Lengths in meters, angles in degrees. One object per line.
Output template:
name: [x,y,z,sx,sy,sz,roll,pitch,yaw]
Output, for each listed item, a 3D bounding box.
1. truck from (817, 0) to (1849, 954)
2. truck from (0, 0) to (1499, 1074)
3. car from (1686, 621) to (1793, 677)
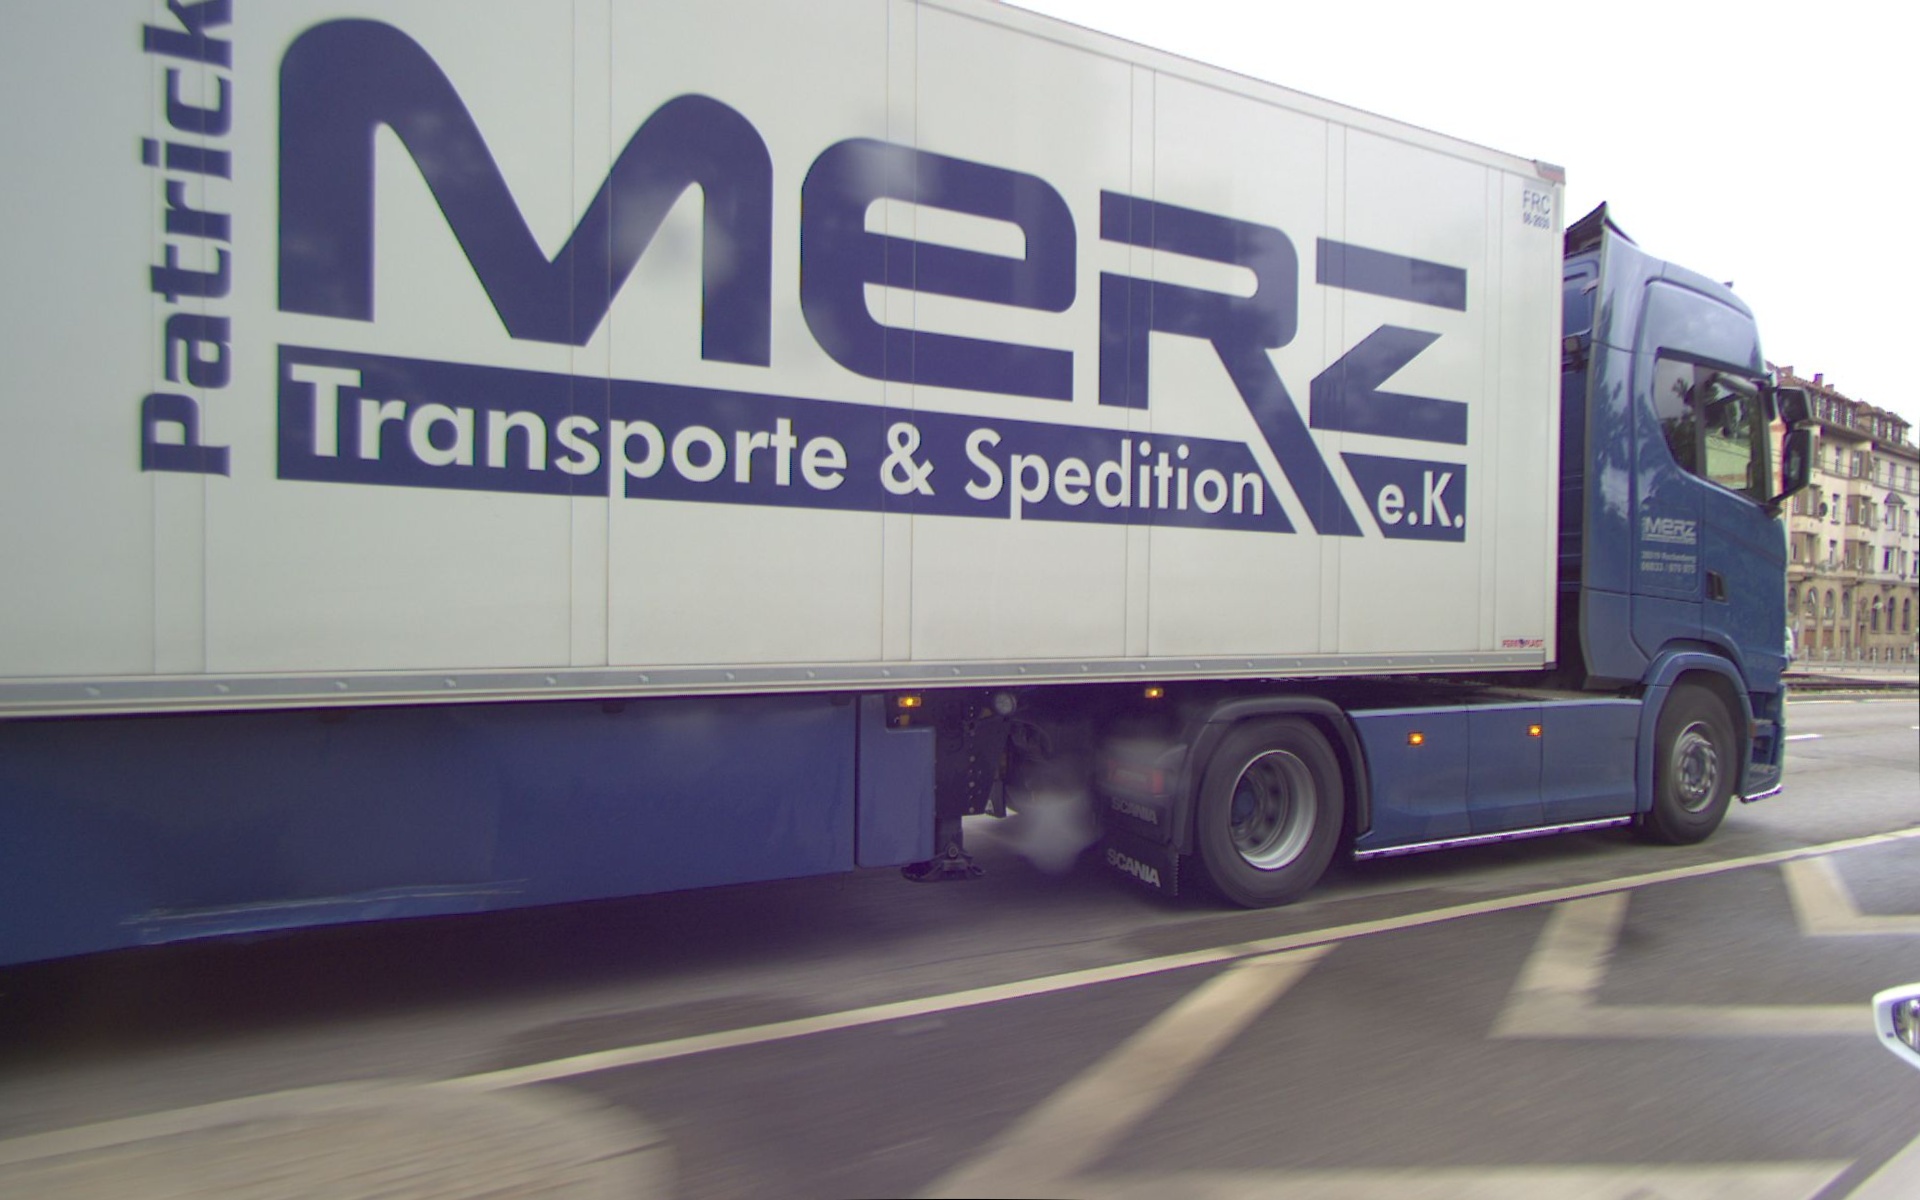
truck: [2.723,-0.523,6.907,6.697,4.252,2.752,3,-1,-27]
truck: [-3.550,-0.845,3.835,12.857,4.252,2.753,3,-1,-26]
car: [34.931,2.216,44.970,5.053,2.146,1.983,4,0,-31]
